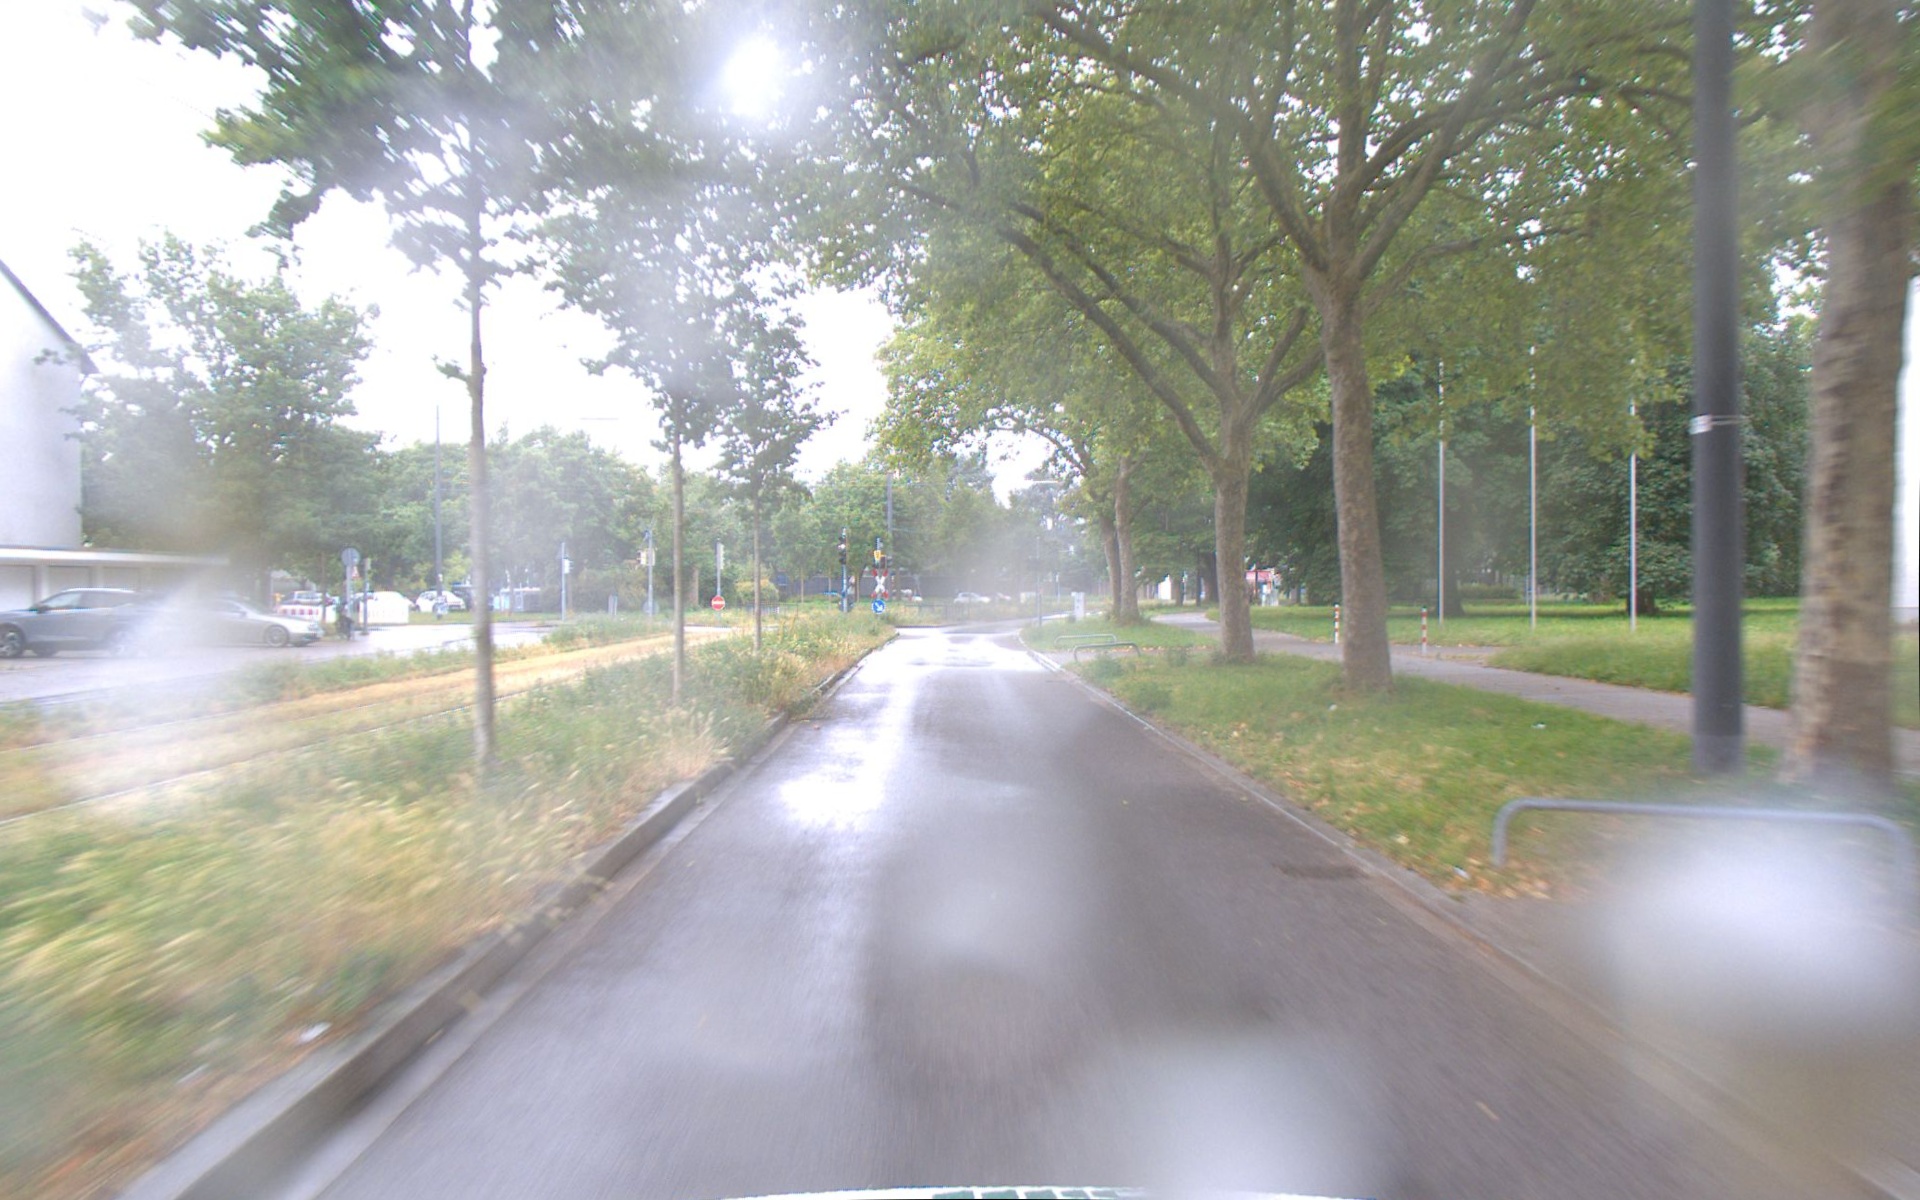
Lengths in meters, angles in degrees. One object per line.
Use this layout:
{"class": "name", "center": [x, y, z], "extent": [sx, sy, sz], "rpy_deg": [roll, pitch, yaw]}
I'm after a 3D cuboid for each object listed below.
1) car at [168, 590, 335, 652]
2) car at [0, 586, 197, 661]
{"class": "car", "center": [-20.197, 0.590, 47.301], "extent": [3.908, 1.645, 1.999], "rpy_deg": [-1, 0, -4]}
{"class": "car", "center": [-20.496, 0.542, 39.144], "extent": [3.908, 1.645, 1.999], "rpy_deg": [-1, 0, -4]}
